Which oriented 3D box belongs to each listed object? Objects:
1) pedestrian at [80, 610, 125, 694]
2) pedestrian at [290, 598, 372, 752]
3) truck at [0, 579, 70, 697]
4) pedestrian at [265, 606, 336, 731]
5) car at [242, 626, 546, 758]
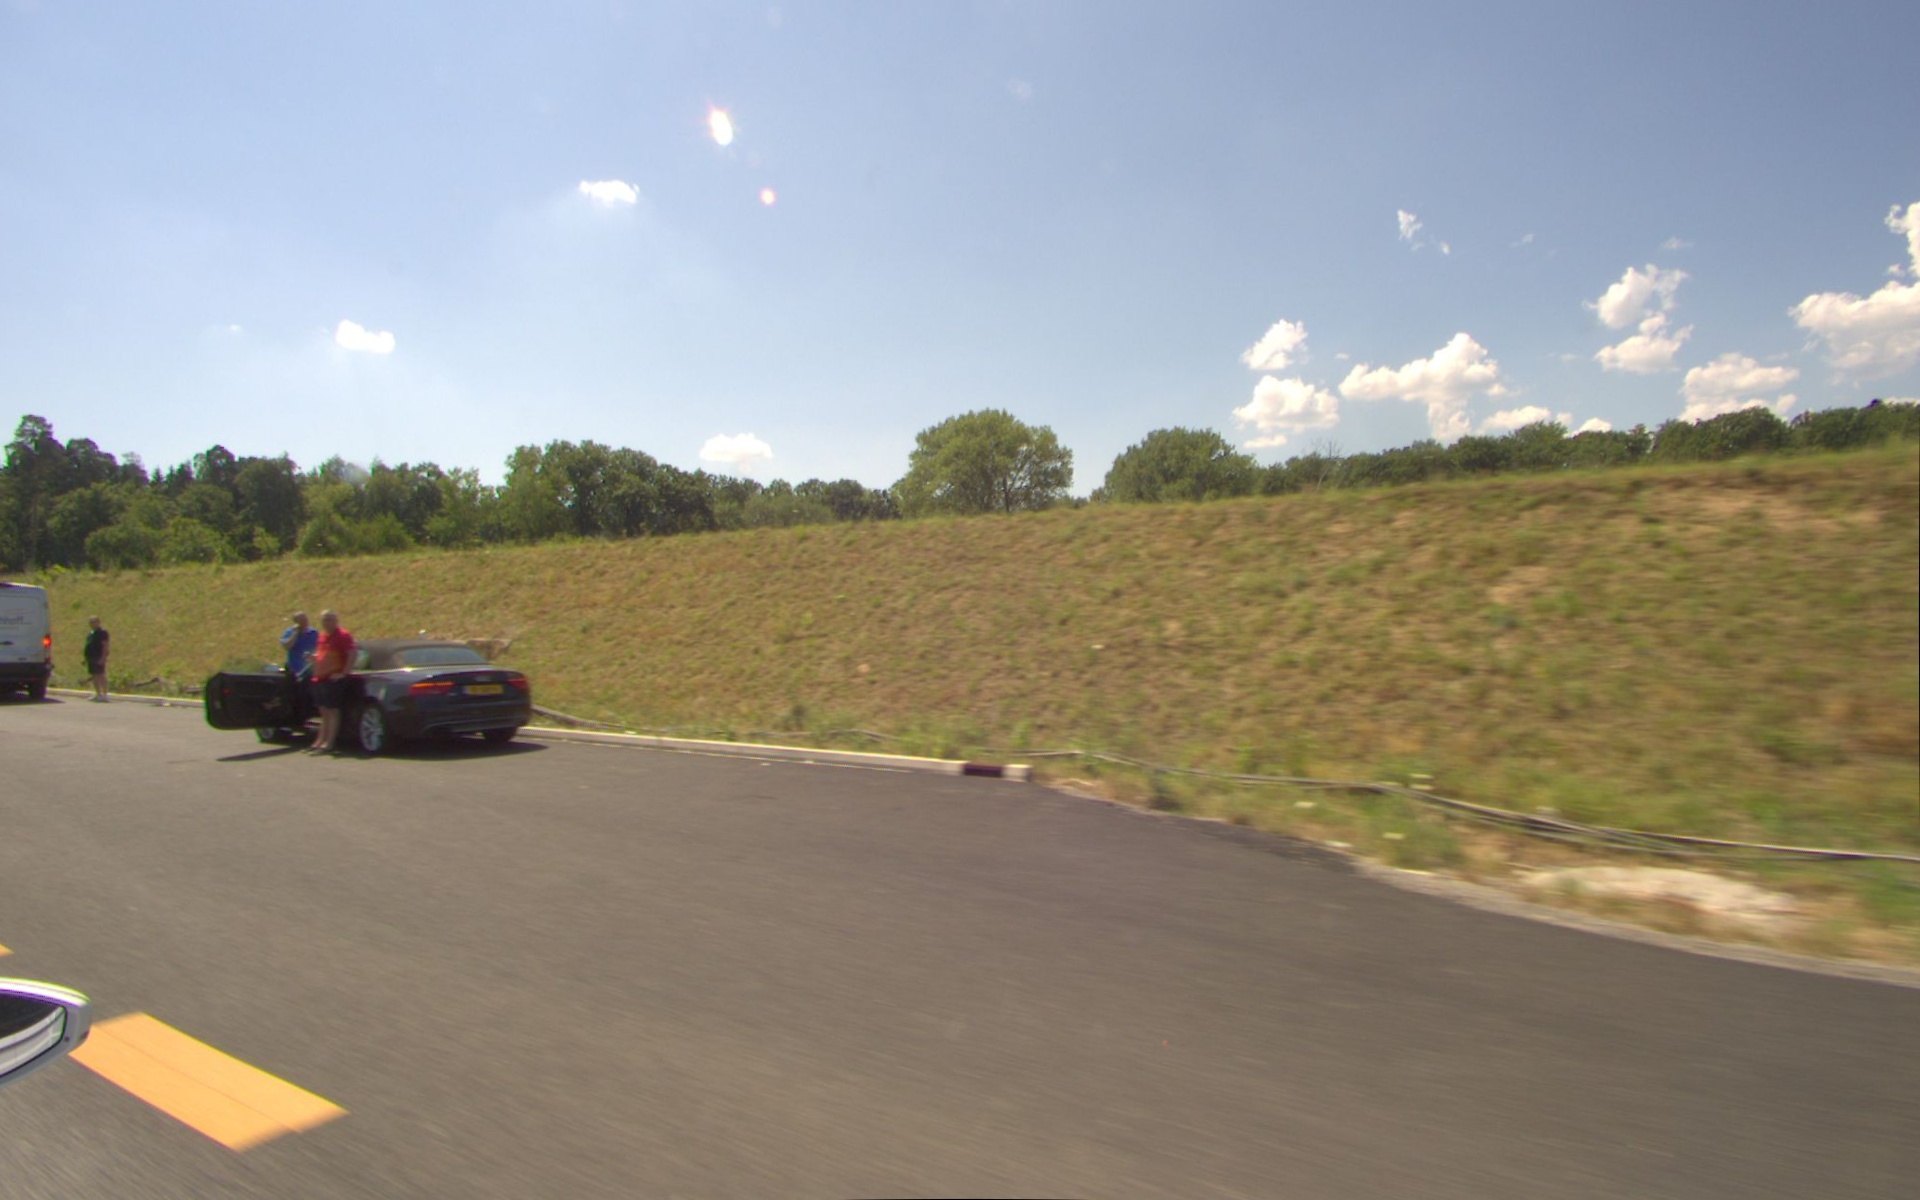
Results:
[{"bbox_3d":[-18.838,1.135,21.997,0.657,1.818,0.563,-1,-2,31],"label":"pedestrian"},{"bbox_3d":[-7.822,0.917,12.465,0.548,1.851,0.642,0,-1,11],"label":"pedestrian"},{"bbox_3d":[-22.542,0.840,23.080,5.854,2.488,2.121,-1,-2,39],"label":"truck"},{"bbox_3d":[-10.061,1.027,15.296,0.631,1.851,0.625,0,-1,20],"label":"pedestrian"},{"bbox_3d":[-7.677,1.105,13.446,4.480,1.446,1.650,-1,1,33],"label":"car"}]
